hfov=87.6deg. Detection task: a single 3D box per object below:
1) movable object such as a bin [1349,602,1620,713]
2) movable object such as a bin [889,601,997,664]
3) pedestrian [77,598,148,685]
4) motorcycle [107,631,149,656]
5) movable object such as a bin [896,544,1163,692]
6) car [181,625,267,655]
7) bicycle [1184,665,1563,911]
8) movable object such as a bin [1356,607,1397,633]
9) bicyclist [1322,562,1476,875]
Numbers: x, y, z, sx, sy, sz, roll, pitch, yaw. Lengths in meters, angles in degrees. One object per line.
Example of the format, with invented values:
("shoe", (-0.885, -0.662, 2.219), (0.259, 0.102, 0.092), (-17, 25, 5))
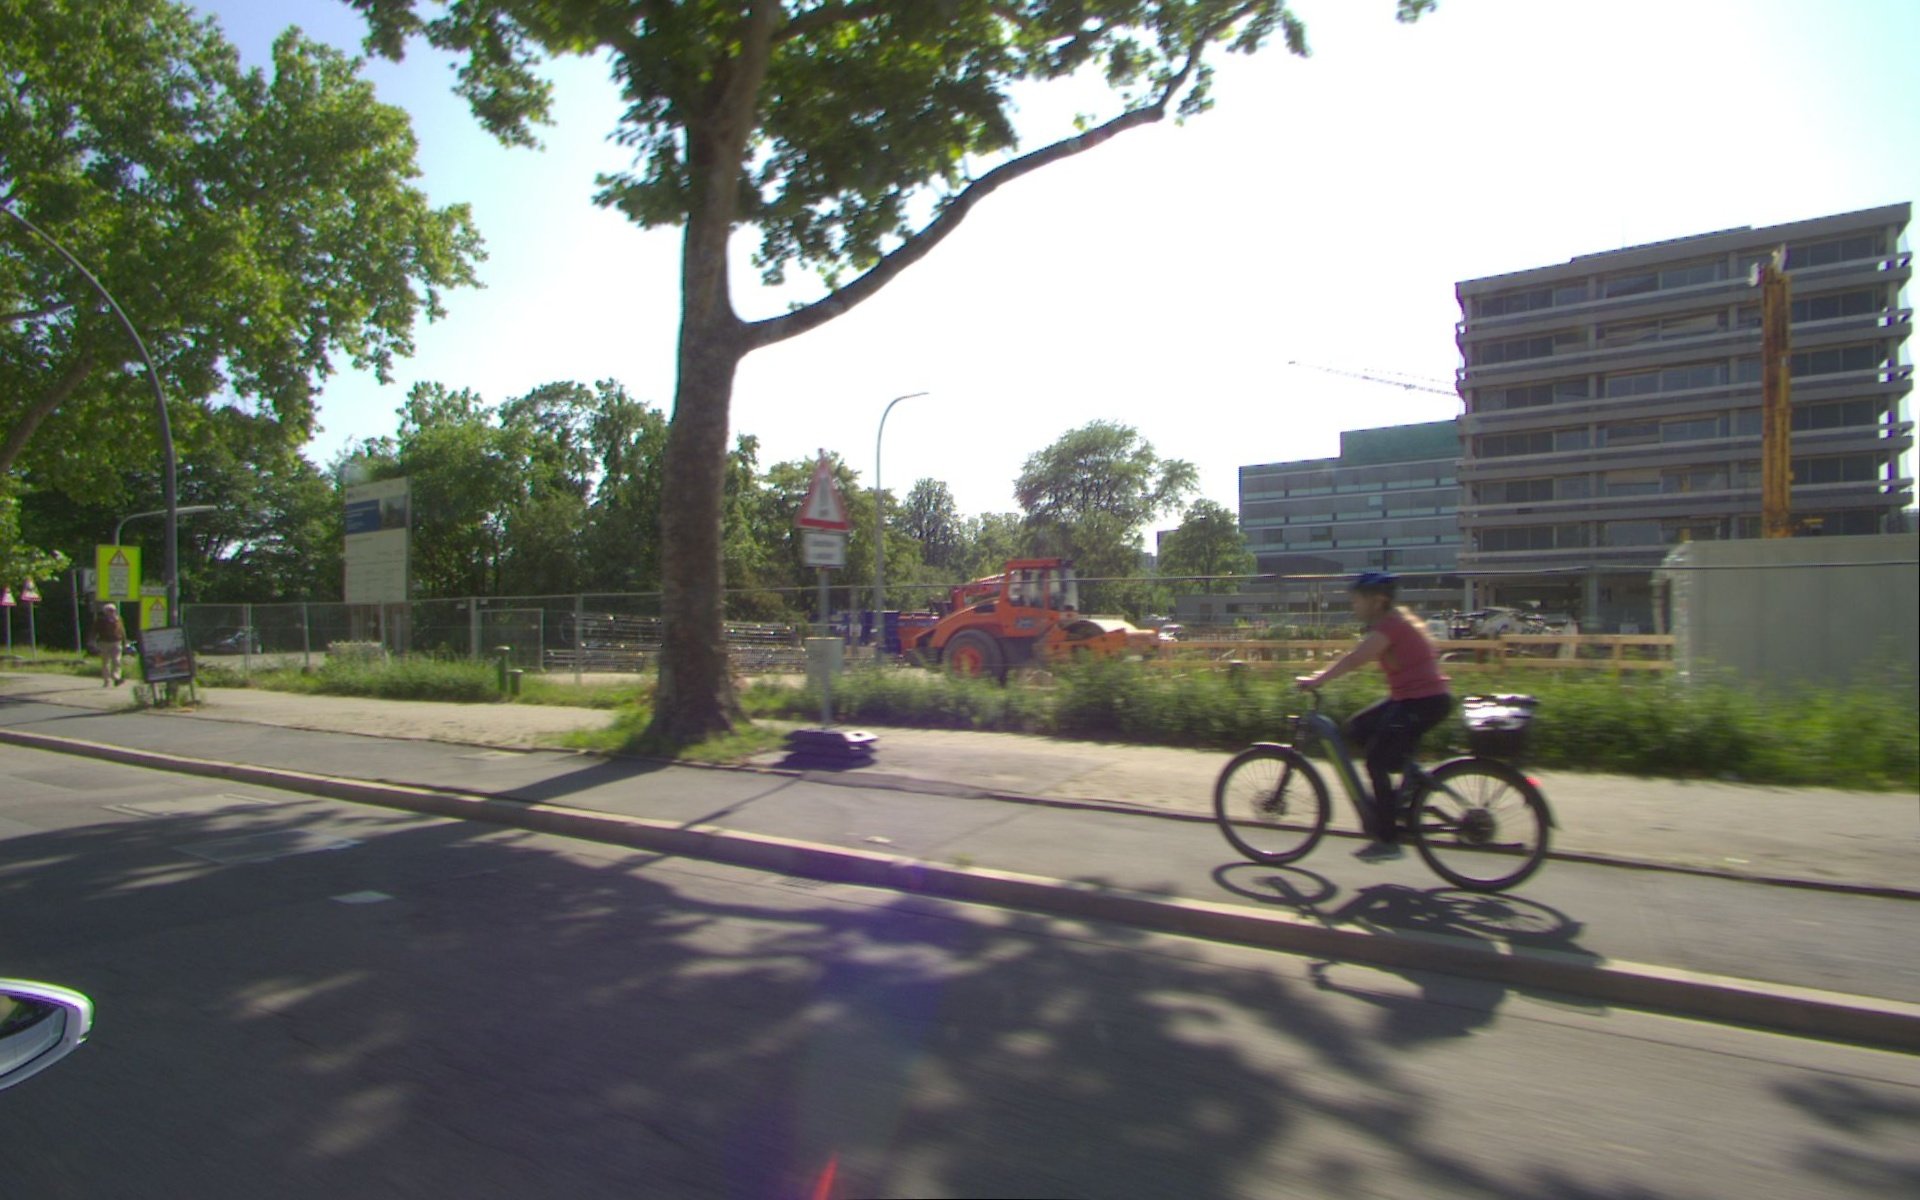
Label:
("movable object such as a bin", (27.432, 2.904, 53.635), (6.636, 5.242, 11.761), (0, -2, -15))
("movable object such as a bin", (-0.811, 1.660, 51.037), (3.247, 3.013, 5.167), (-1, -2, 32))
("pedestrian", (-19.242, 0.927, 22.737), (1.135, 1.917, 0.937), (0, -1, 32))
("motorcycle", (-33.803, 1.767, 40.699), (0.463, 0.980, 1.219), (0, -1, 25))
("movable object such as a bin", (1.590, 0.439, 23.656), (5.894, 3.111, 2.367), (-1, -1, 29))
("car", (-38.527, 2.074, 52.517), (1.651, 1.473, 4.001), (0, -1, -2))
("bicycle", (2.322, 0.979, 5.725), (1.917, 1.144, 0.650), (-1, 1, 32))
("movable object such as a bin", (33.038, 1.592, 79.341), (2.629, 2.040, 2.747), (-1, -1, 31))
("bicyclist", (2.468, 0.613, 5.615), (0.721, 1.621, 0.618), (0, 2, 30))
